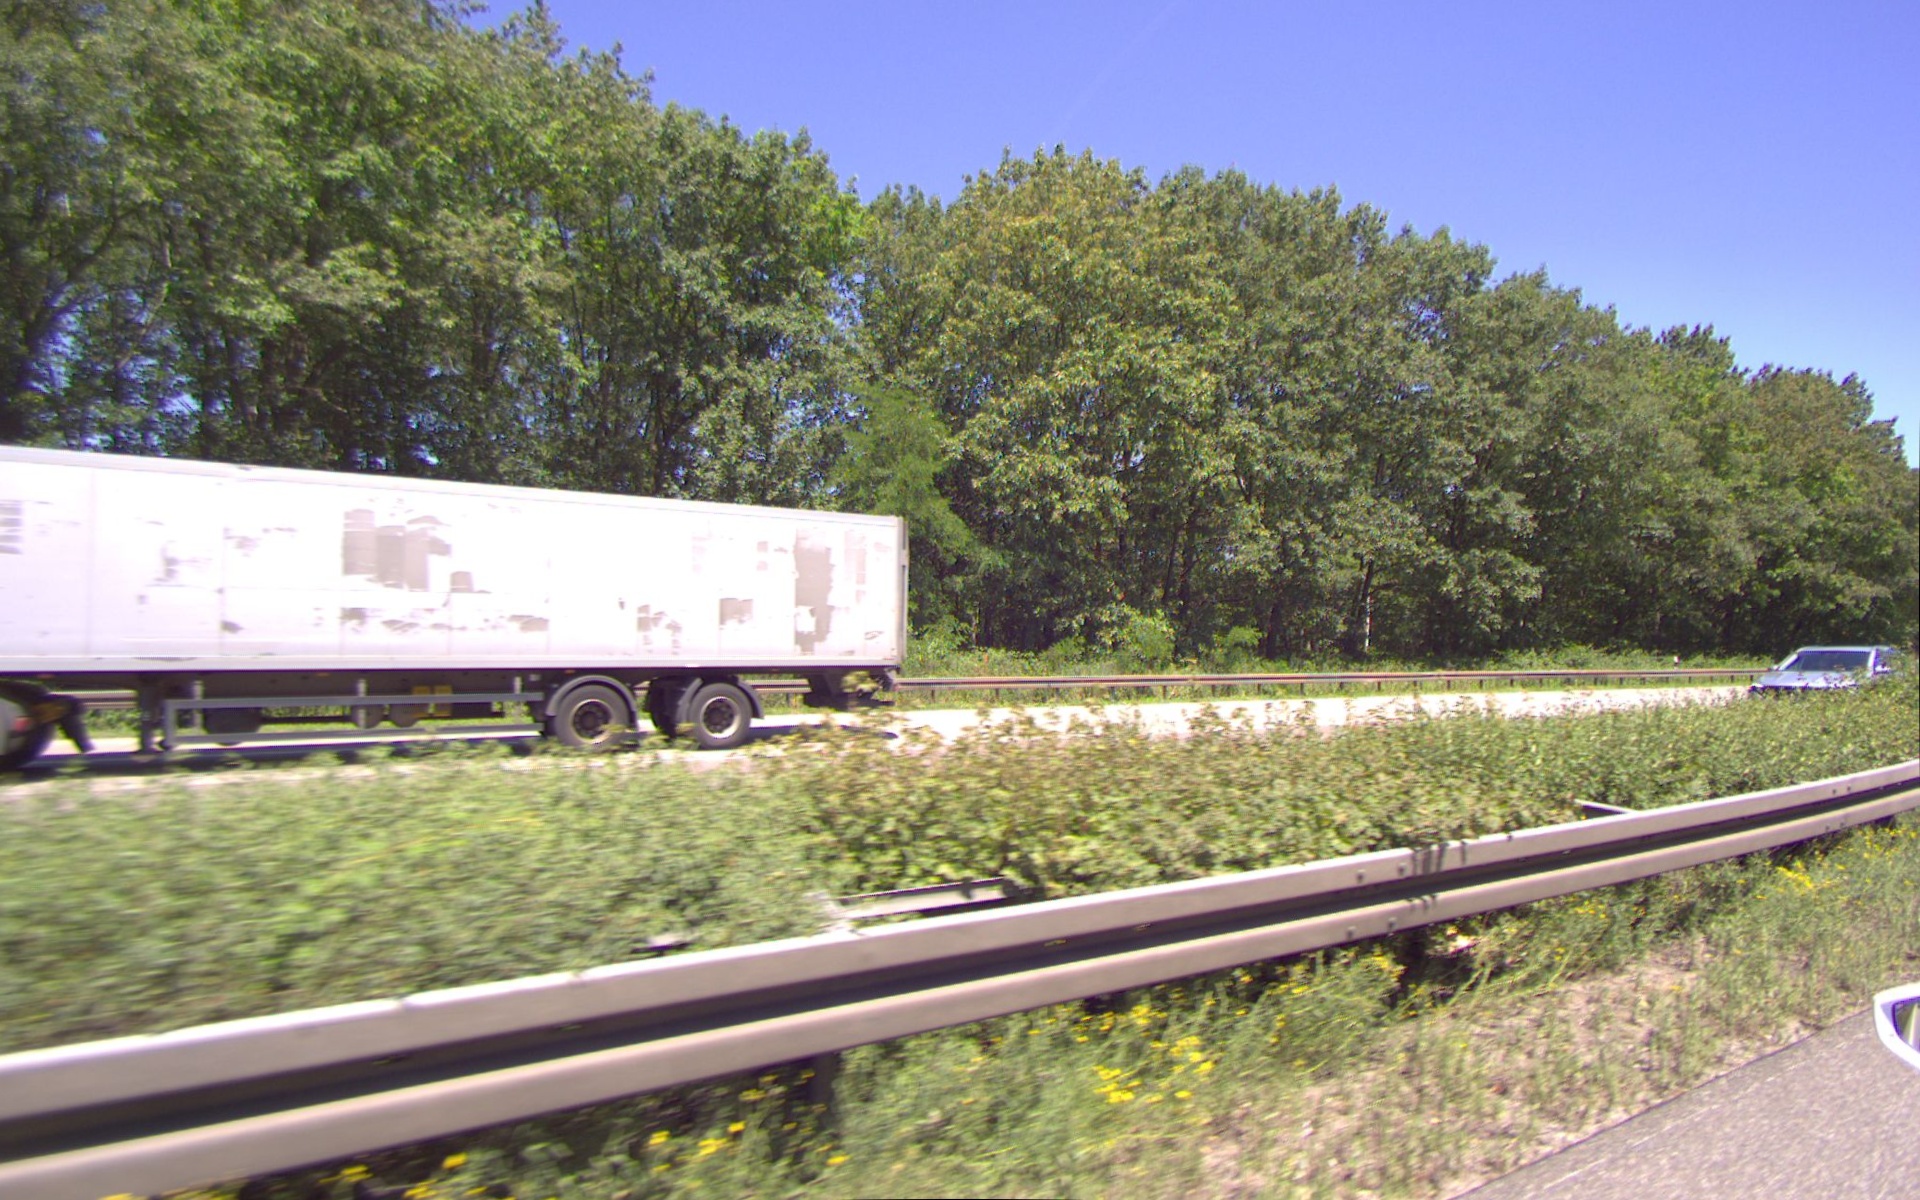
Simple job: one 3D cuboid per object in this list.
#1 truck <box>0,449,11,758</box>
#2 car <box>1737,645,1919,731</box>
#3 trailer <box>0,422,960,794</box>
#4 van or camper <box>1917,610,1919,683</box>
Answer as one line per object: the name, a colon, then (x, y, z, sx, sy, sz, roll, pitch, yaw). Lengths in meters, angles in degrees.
truck: (-13.502, -0.013, 10.319, 4.828, 3.874, 2.768, 2, -1, -31)
car: (17.490, 1.693, 20.122, 3.970, 1.507, 1.802, 2, -1, -32)
trailer: (-6.526, 0.237, 14.511, 13.486, 3.929, 2.895, 2, -1, -31)
van or camper: (46.220, 2.126, 45.042, 8.979, 3.153, 2.409, 2, -1, -30)
